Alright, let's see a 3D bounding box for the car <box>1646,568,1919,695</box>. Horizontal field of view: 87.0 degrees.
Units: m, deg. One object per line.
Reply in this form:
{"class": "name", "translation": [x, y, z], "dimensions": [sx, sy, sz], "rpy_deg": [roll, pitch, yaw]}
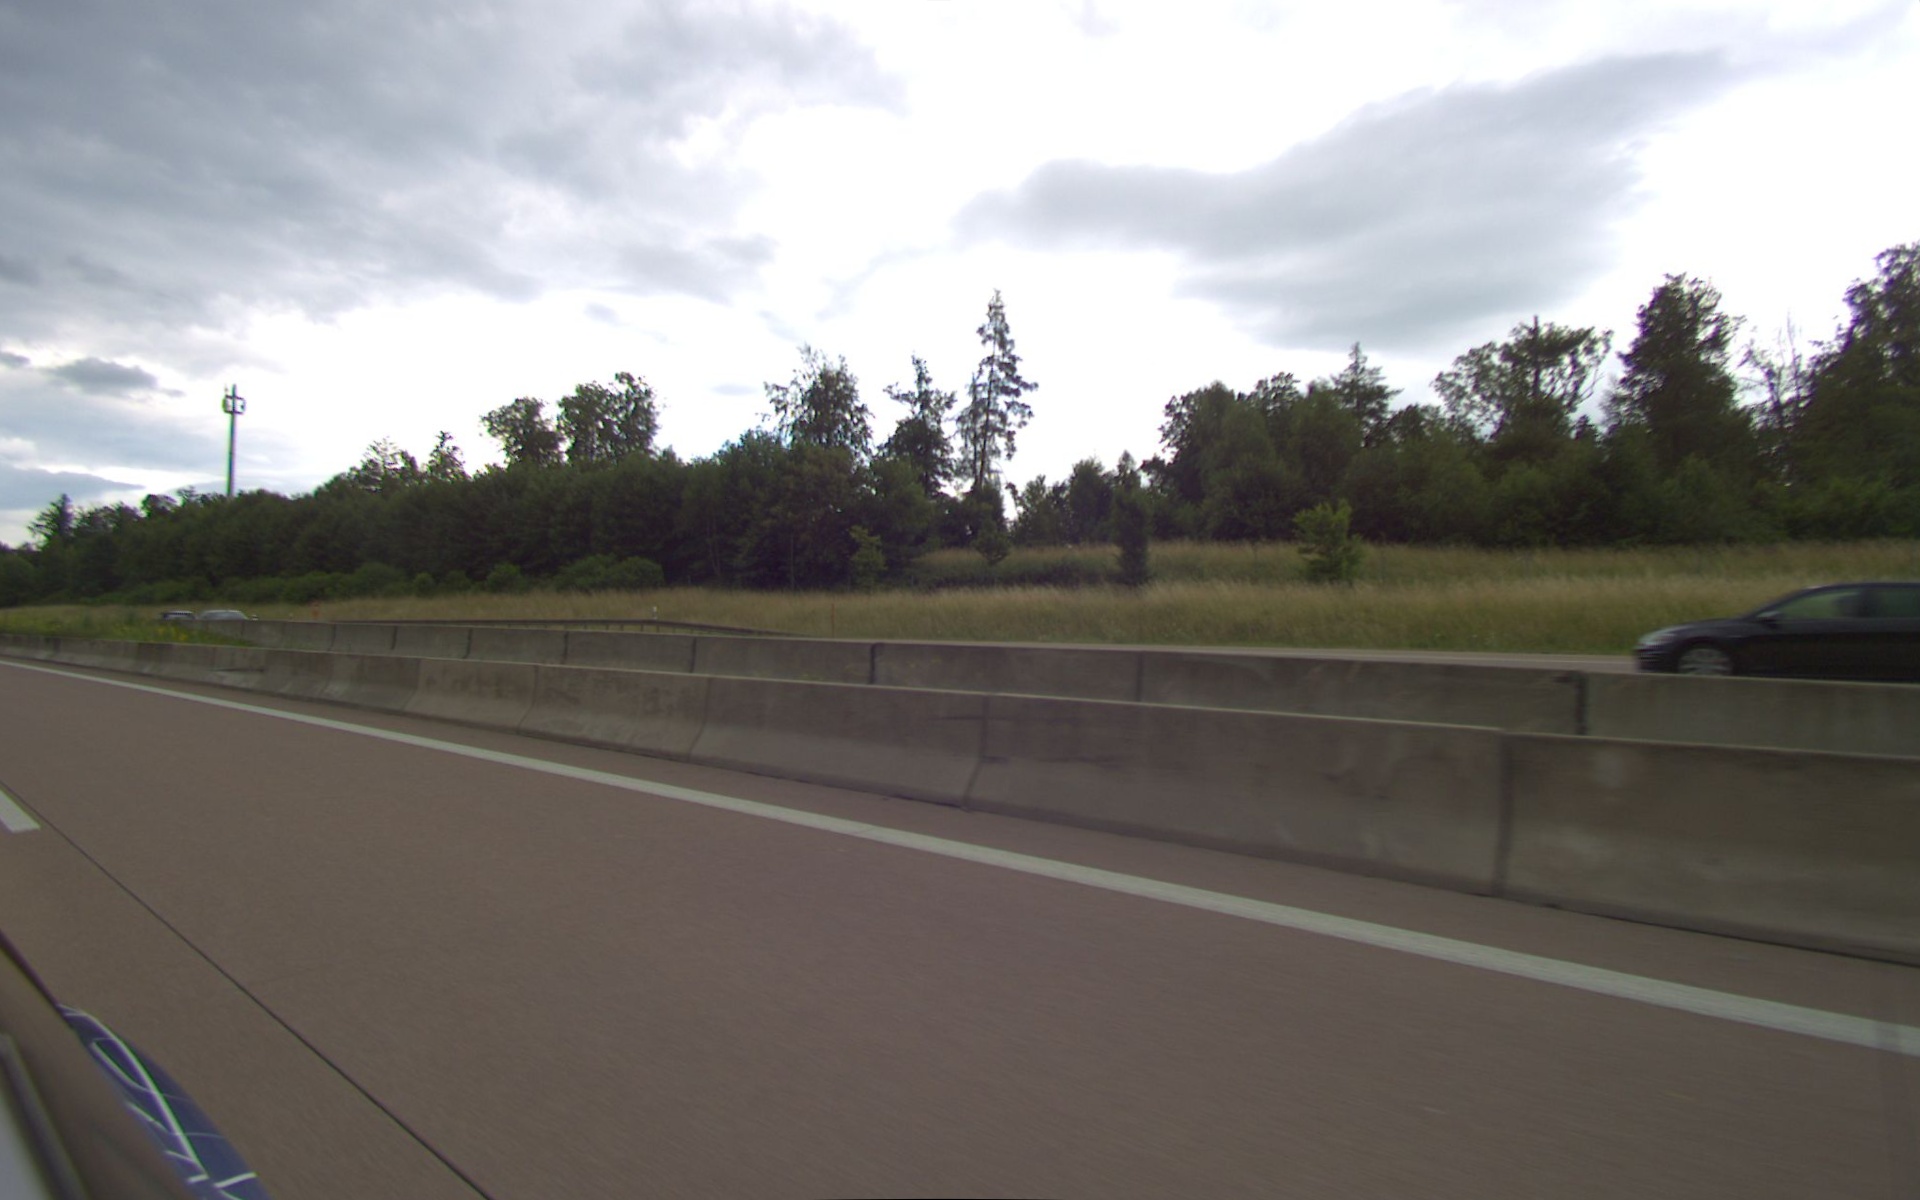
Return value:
{"class": "car", "translation": [11.564, 0.364, 12.986], "dimensions": [4.421, 1.499, 1.910], "rpy_deg": [0, 1, 40]}

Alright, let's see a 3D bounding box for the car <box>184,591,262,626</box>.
{"class": "car", "translation": [-33.987, 0.362, 46.631], "dimensions": [4.237, 1.536, 1.717], "rpy_deg": [0, 1, 36]}

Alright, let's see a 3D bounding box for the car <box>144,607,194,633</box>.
{"class": "car", "translation": [-50.497, 1.223, 64.554], "dimensions": [4.410, 1.536, 1.714], "rpy_deg": [0, 1, 41]}
